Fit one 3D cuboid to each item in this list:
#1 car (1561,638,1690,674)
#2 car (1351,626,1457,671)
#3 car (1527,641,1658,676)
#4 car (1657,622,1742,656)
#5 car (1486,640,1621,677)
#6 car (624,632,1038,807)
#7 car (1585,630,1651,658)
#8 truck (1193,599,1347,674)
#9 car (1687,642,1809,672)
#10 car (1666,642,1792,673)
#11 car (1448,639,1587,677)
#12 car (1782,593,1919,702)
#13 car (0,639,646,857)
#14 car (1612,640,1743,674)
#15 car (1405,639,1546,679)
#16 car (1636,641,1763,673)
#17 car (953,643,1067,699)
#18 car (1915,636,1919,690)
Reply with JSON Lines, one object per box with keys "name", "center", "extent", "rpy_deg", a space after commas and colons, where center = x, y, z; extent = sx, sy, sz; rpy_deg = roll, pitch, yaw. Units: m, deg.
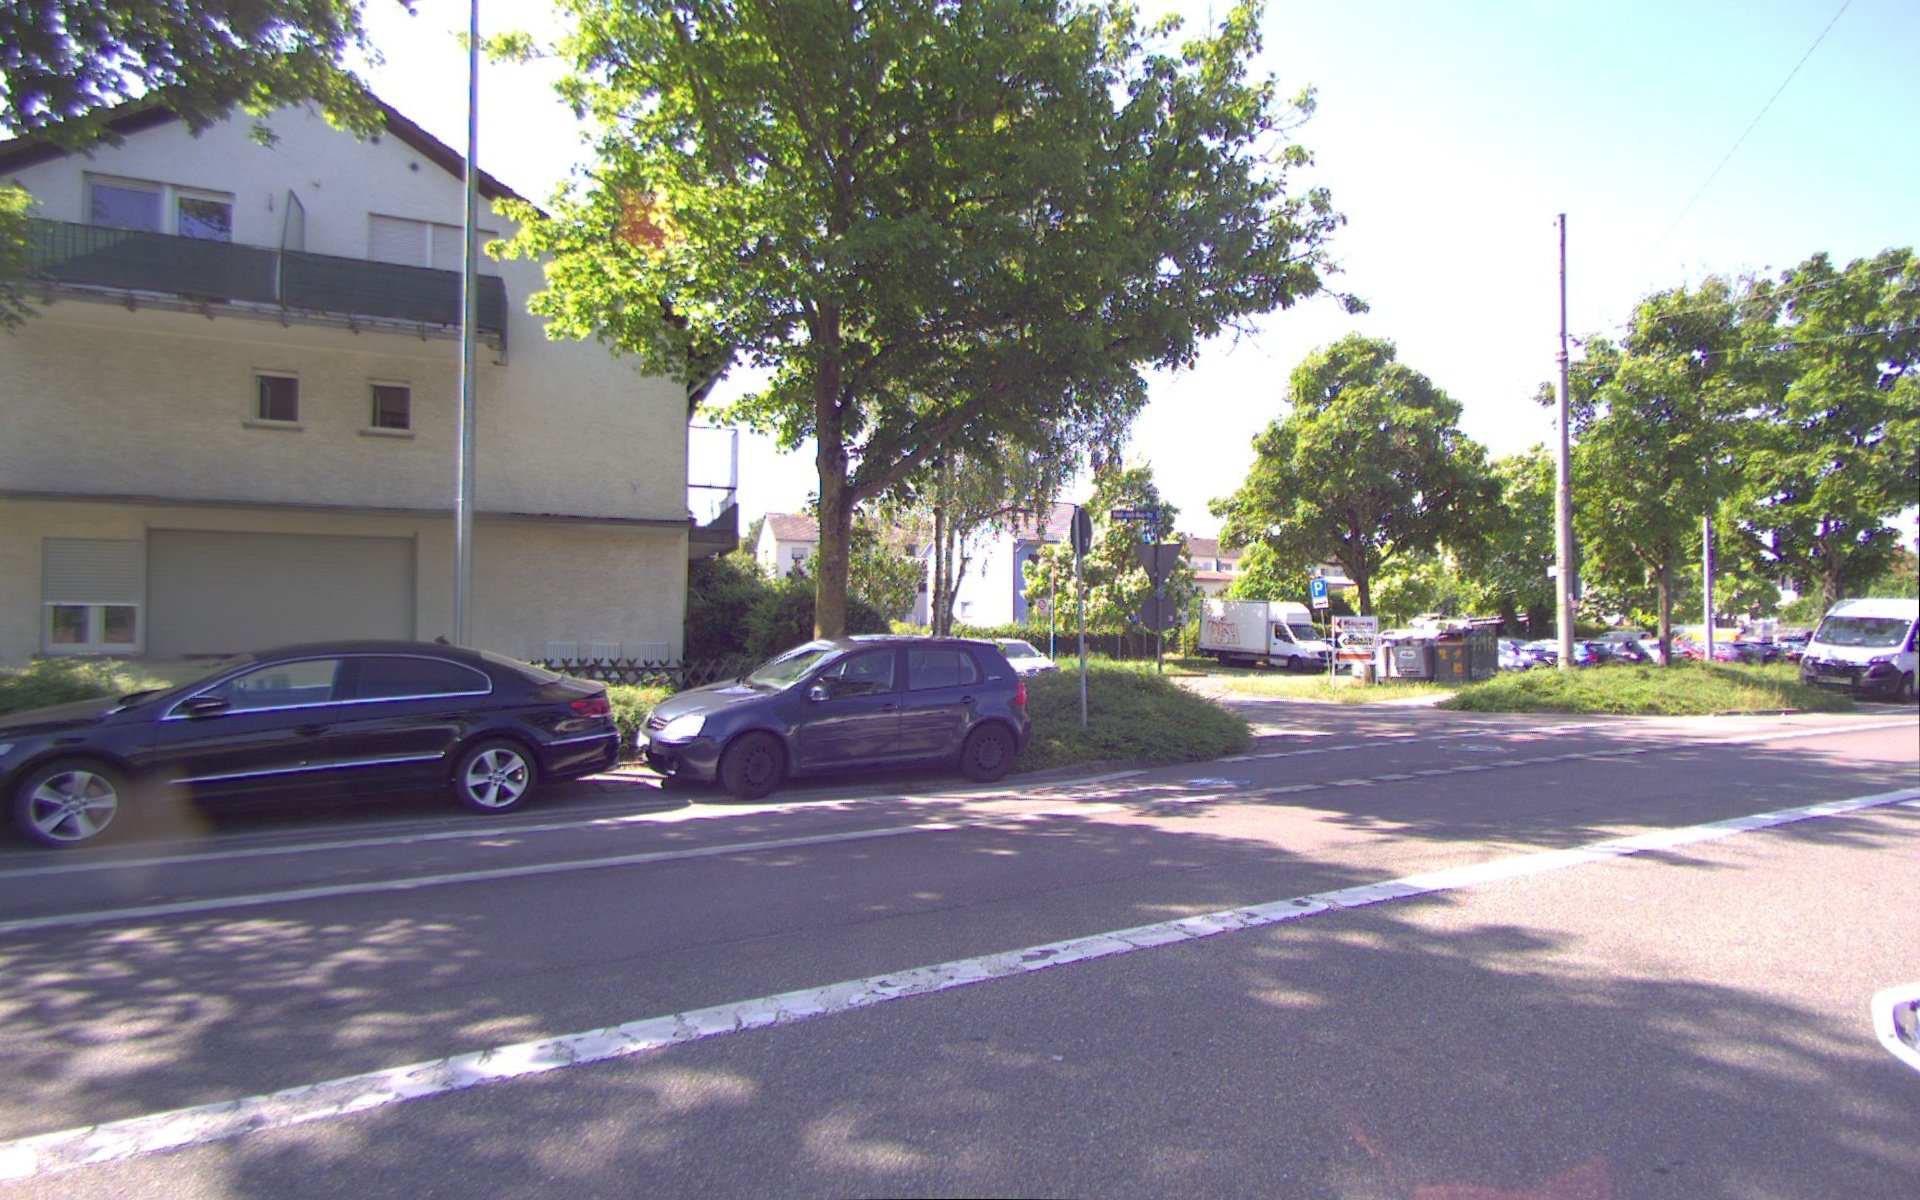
{"name": "car", "center": [26.600, 2.196, 40.266], "extent": [1.748, 1.368, 3.973], "rpy_deg": [1, -2, -27]}
{"name": "car", "center": [22.885, 2.464, 51.969], "extent": [1.980, 2.040, 4.663], "rpy_deg": [2, 0, -34]}
{"name": "car", "center": [24.364, 2.217, 38.834], "extent": [1.748, 1.241, 3.973], "rpy_deg": [1, -2, -27]}
{"name": "car", "center": [50.519, 2.644, 68.697], "extent": [1.981, 2.040, 4.228], "rpy_deg": [2, 0, -35]}
{"name": "car", "center": [21.760, 2.106, 36.959], "extent": [1.748, 1.241, 3.973], "rpy_deg": [1, -2, -27]}
{"name": "car", "center": [-1.296, 1.118, 10.495], "extent": [3.956, 1.470, 1.634], "rpy_deg": [2, 0, -29]}
{"name": "car", "center": [44.876, 2.989, 68.544], "extent": [1.535, 1.901, 3.406], "rpy_deg": [1, -2, -31]}
{"name": "truck", "center": [14.224, 1.582, 46.733], "extent": [2.206, 3.059, 7.103], "rpy_deg": [1, 1, -31]}
{"name": "car", "center": [35.202, 2.522, 44.977], "extent": [1.748, 1.241, 3.973], "rpy_deg": [1, -2, -27]}
{"name": "car", "center": [33.324, 2.454, 43.631], "extent": [1.748, 1.241, 3.973], "rpy_deg": [1, -2, -27]}
{"name": "car", "center": [19.503, 2.001, 35.290], "extent": [1.751, 1.241, 3.967], "rpy_deg": [1, -2, -31]}
{"name": "car", "center": [23.993, 1.165, 25.890], "extent": [6.227, 2.534, 2.050], "rpy_deg": [1, 1, -28]}
{"name": "car", "center": [-5.218, 1.047, 8.343], "extent": [4.727, 1.398, 1.682], "rpy_deg": [1, -1, -31]}
{"name": "car", "center": [29.041, 2.260, 40.783], "extent": [1.748, 1.281, 3.973], "rpy_deg": [1, -2, -27]}
{"name": "car", "center": [17.385, 1.949, 34.056], "extent": [1.751, 1.241, 3.967], "rpy_deg": [1, -2, -31]}
{"name": "car", "center": [31.093, 2.362, 42.369], "extent": [1.748, 1.241, 3.973], "rpy_deg": [1, -2, -27]}
{"name": "car", "center": [1.336, 1.952, 28.423], "extent": [1.687, 1.437, 3.979], "rpy_deg": [1, -2, -23]}
{"name": "car", "center": [29.297, 1.794, 28.706], "extent": [4.148, 1.536, 1.835], "rpy_deg": [1, -2, -30]}
